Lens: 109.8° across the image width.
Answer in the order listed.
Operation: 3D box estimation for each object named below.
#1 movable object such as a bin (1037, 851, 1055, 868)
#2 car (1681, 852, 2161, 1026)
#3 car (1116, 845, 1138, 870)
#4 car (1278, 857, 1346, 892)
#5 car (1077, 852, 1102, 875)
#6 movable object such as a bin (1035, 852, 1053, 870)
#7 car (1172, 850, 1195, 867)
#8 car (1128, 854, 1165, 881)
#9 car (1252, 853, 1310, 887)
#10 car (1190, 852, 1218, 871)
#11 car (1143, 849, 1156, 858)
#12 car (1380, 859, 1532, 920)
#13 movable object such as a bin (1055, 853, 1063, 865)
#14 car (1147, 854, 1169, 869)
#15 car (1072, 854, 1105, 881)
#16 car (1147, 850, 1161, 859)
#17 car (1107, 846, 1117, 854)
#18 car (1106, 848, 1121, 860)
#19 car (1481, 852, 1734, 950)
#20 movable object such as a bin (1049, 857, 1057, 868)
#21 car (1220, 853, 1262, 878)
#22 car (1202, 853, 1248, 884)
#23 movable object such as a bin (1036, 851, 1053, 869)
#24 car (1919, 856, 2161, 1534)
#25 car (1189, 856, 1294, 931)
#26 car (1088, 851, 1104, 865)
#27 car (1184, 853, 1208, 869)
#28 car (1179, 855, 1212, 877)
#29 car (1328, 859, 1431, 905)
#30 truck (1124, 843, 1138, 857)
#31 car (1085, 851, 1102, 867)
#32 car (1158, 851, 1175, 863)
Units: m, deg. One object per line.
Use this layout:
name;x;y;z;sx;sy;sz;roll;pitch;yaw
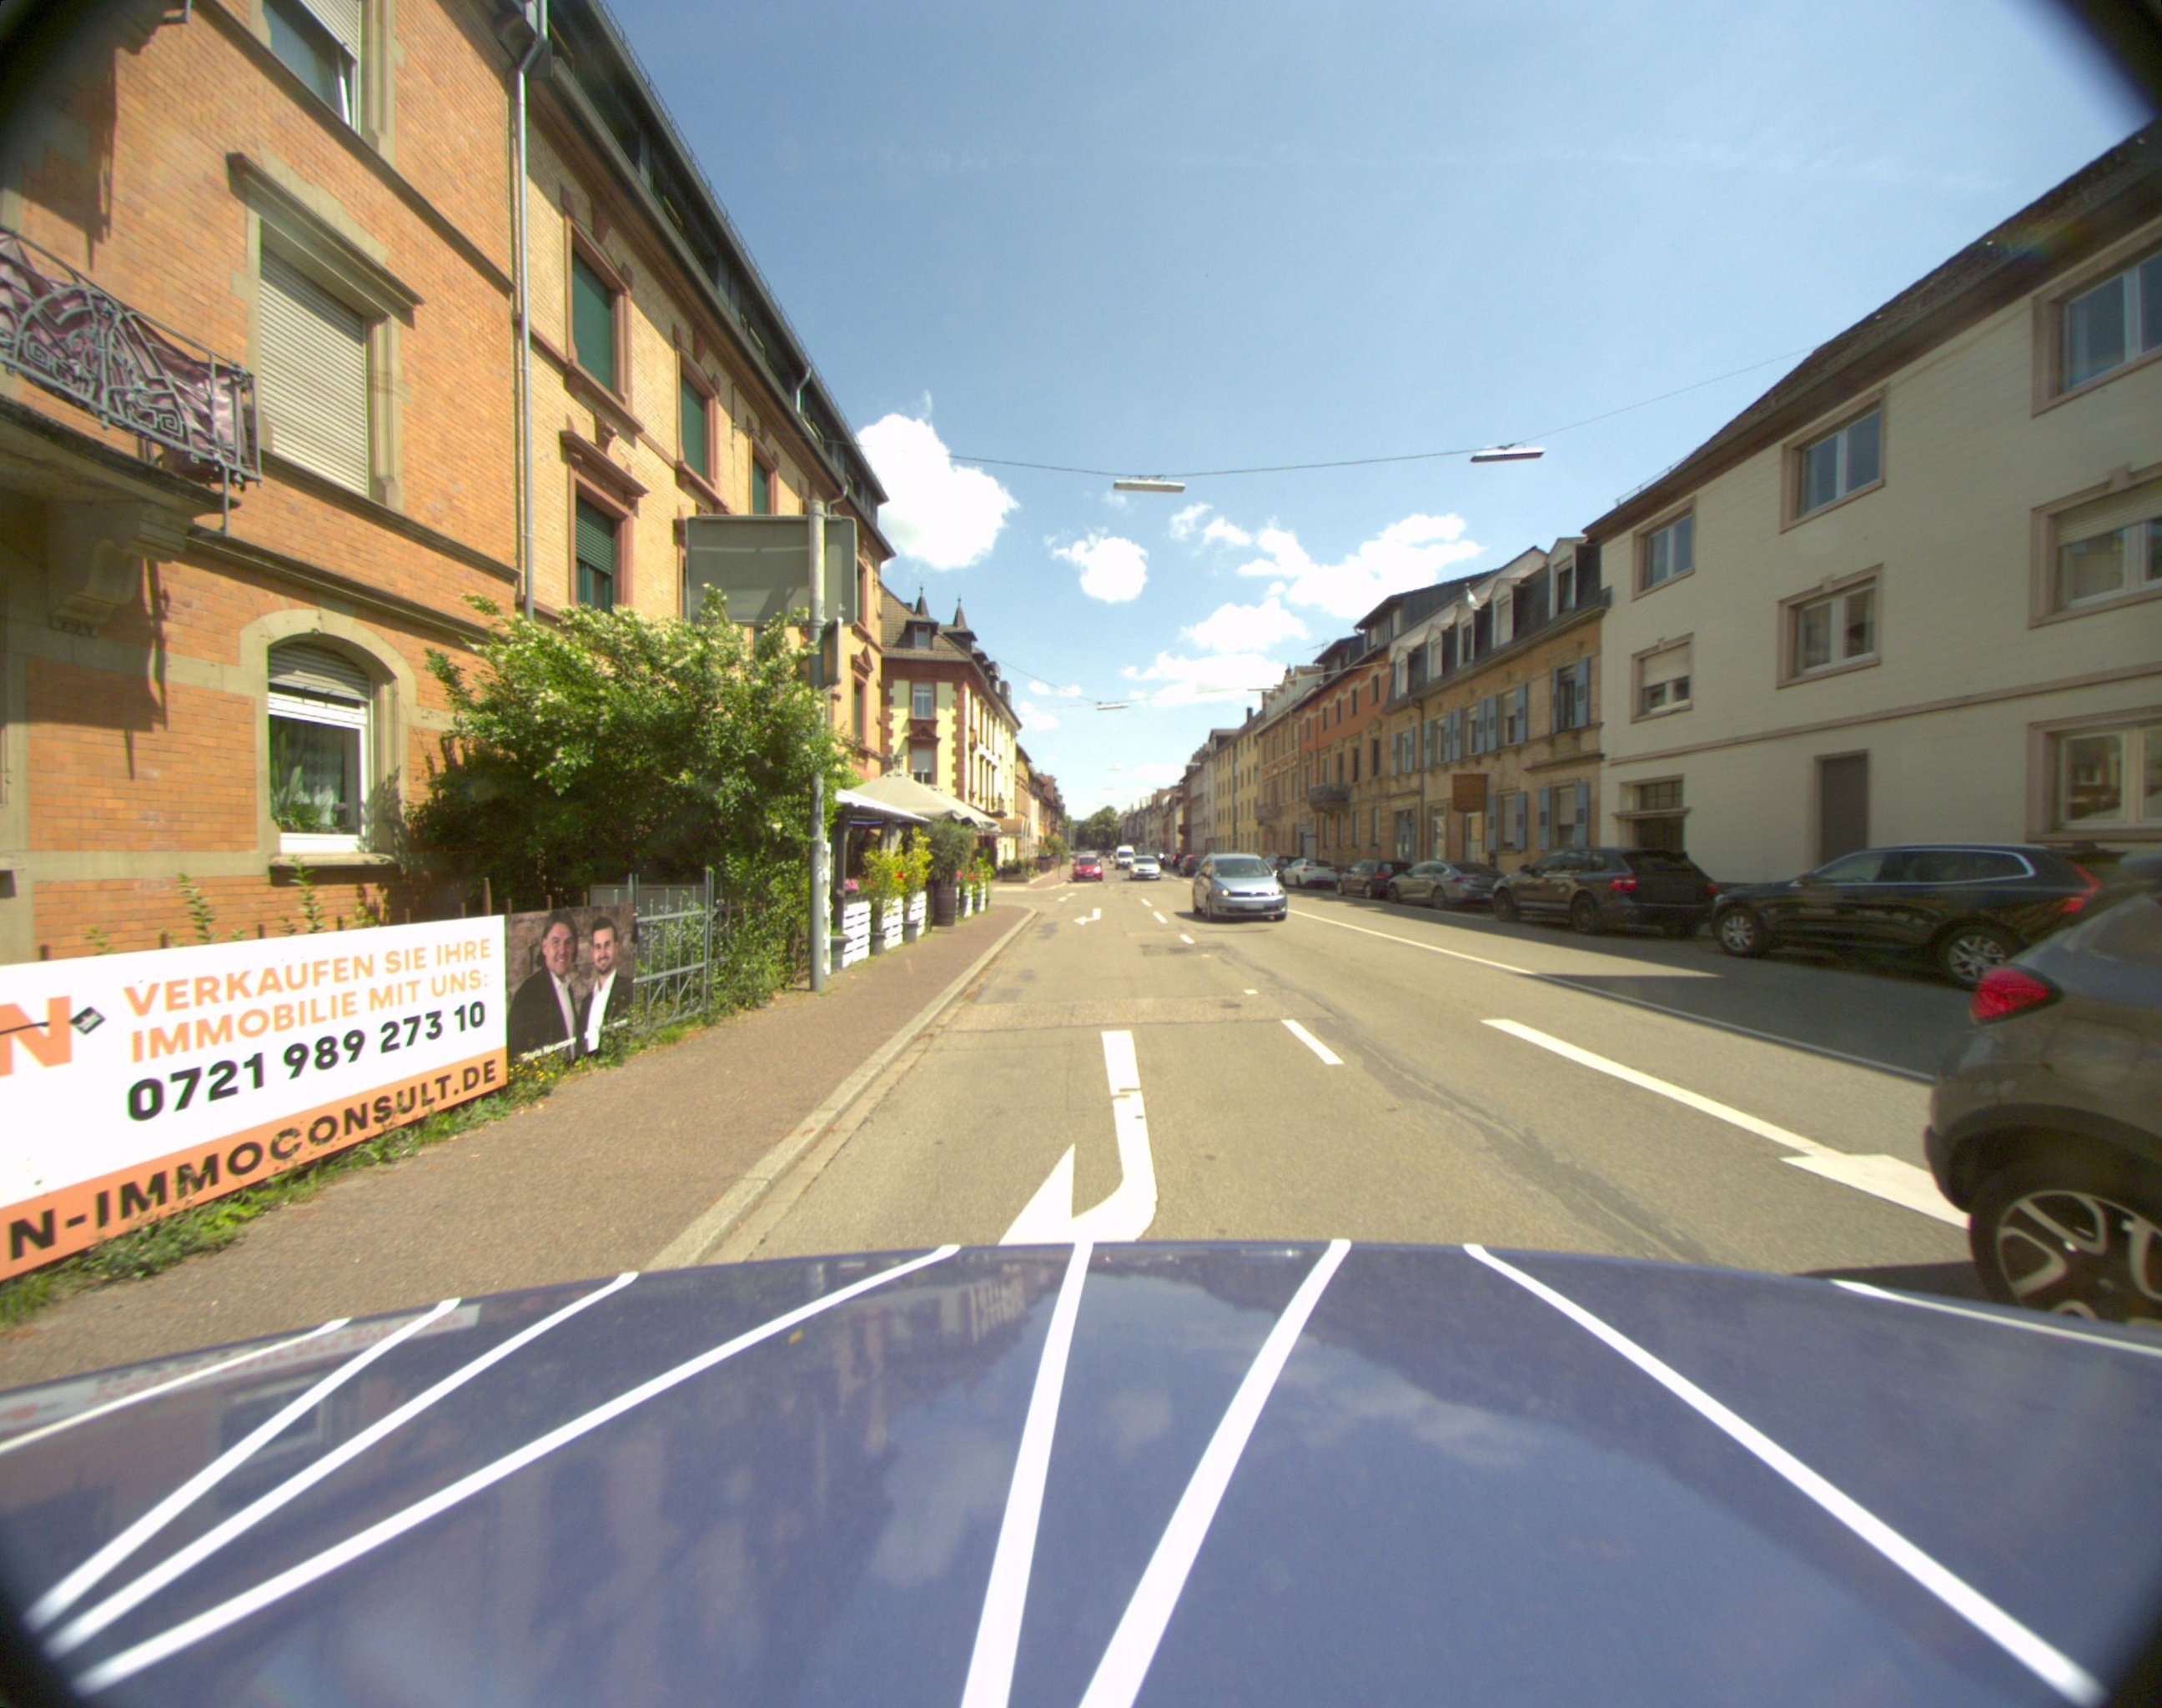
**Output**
movable object such as a bin;-2.845;0.459;61.883;1.285;1.402;1.305;0;1;2
car;10.424;0.822;9.613;1.890;1.631;4.662;1;0;-1
car;4.389;0.301;73.131;1.905;2.261;5.672;-1;0;1
car;11.009;0.945;36.512;1.869;1.418;4.330;3;0;0
car;0.657;0.675;56.771;1.761;1.542;4.066;-2;0;2
movable object such as a bin;-2.909;0.528;59.099;1.285;1.388;1.413;0;1;2
car;10.921;0.489;80.395;1.746;1.579;3.958;3;1;16
car;3.931;0.796;46.110;1.905;1.489;4.487;-1;0;1
car;10.866;0.819;41.649;1.870;1.618;4.499;3;1;-1
car;11.111;0.646;68.868;1.869;1.542;4.313;3;1;0
car;11.427;-0.040;127.042;1.665;1.403;4.103;3;1;-2
car;10.766;0.948;22.298;1.870;1.398;4.836;3;0;-2
movable object such as a bin;-2.217;0.525;76.353;0.753;1.235;0.877;0;1;0
car;7.725;0.759;76.239;1.764;1.486;4.245;0;0;0
car;0.421;0.793;46.133;1.762;1.470;3.782;-2;0;-2
car;11.634;0.054;121.836;1.665;1.403;4.103;3;1;-2
car;6.345;-0.836;155.667;1.708;1.470;3.931;-2;0;0
car;4.224;-0.018;99.864;1.904;1.489;4.487;-1;0;1
car;10.372;0.805;15.550;1.889;1.631;4.817;1;0;1
movable object such as a bin;-2.389;0.726;64.765;0.626;0.923;0.612;0;1;0
car;11.157;0.762;53.214;1.870;1.542;4.499;3;1;-1
car;7.654;0.747;40.673;1.706;1.565;4.312;0;0;1
movable object such as a bin;-2.900;0.493;60.515;1.285;1.388;1.364;0;1;2
car;3.438;0.814;0.339;1.758;1.622;4.000;-1;0;1
car;3.769;0.865;18.477;1.758;1.559;4.000;-1;0;1
car;1.664;0.442;85.505;1.708;1.470;3.931;-2;0;0
car;11.119;0.653;73.870;1.749;1.403;3.915;3;1;2
car;7.826;0.782;52.398;1.706;1.469;4.133;0;0;1
car;10.842;0.966;27.983;1.870;1.398;4.329;3;0;-3
truck;10.158;-0.866;154.016;2.323;2.725;8.067;0;0;0
car;1.278;0.500;79.470;1.708;1.470;3.931;-2;0;0
car;11.690;0.379;104.078;1.749;1.403;4.103;3;1;-2
